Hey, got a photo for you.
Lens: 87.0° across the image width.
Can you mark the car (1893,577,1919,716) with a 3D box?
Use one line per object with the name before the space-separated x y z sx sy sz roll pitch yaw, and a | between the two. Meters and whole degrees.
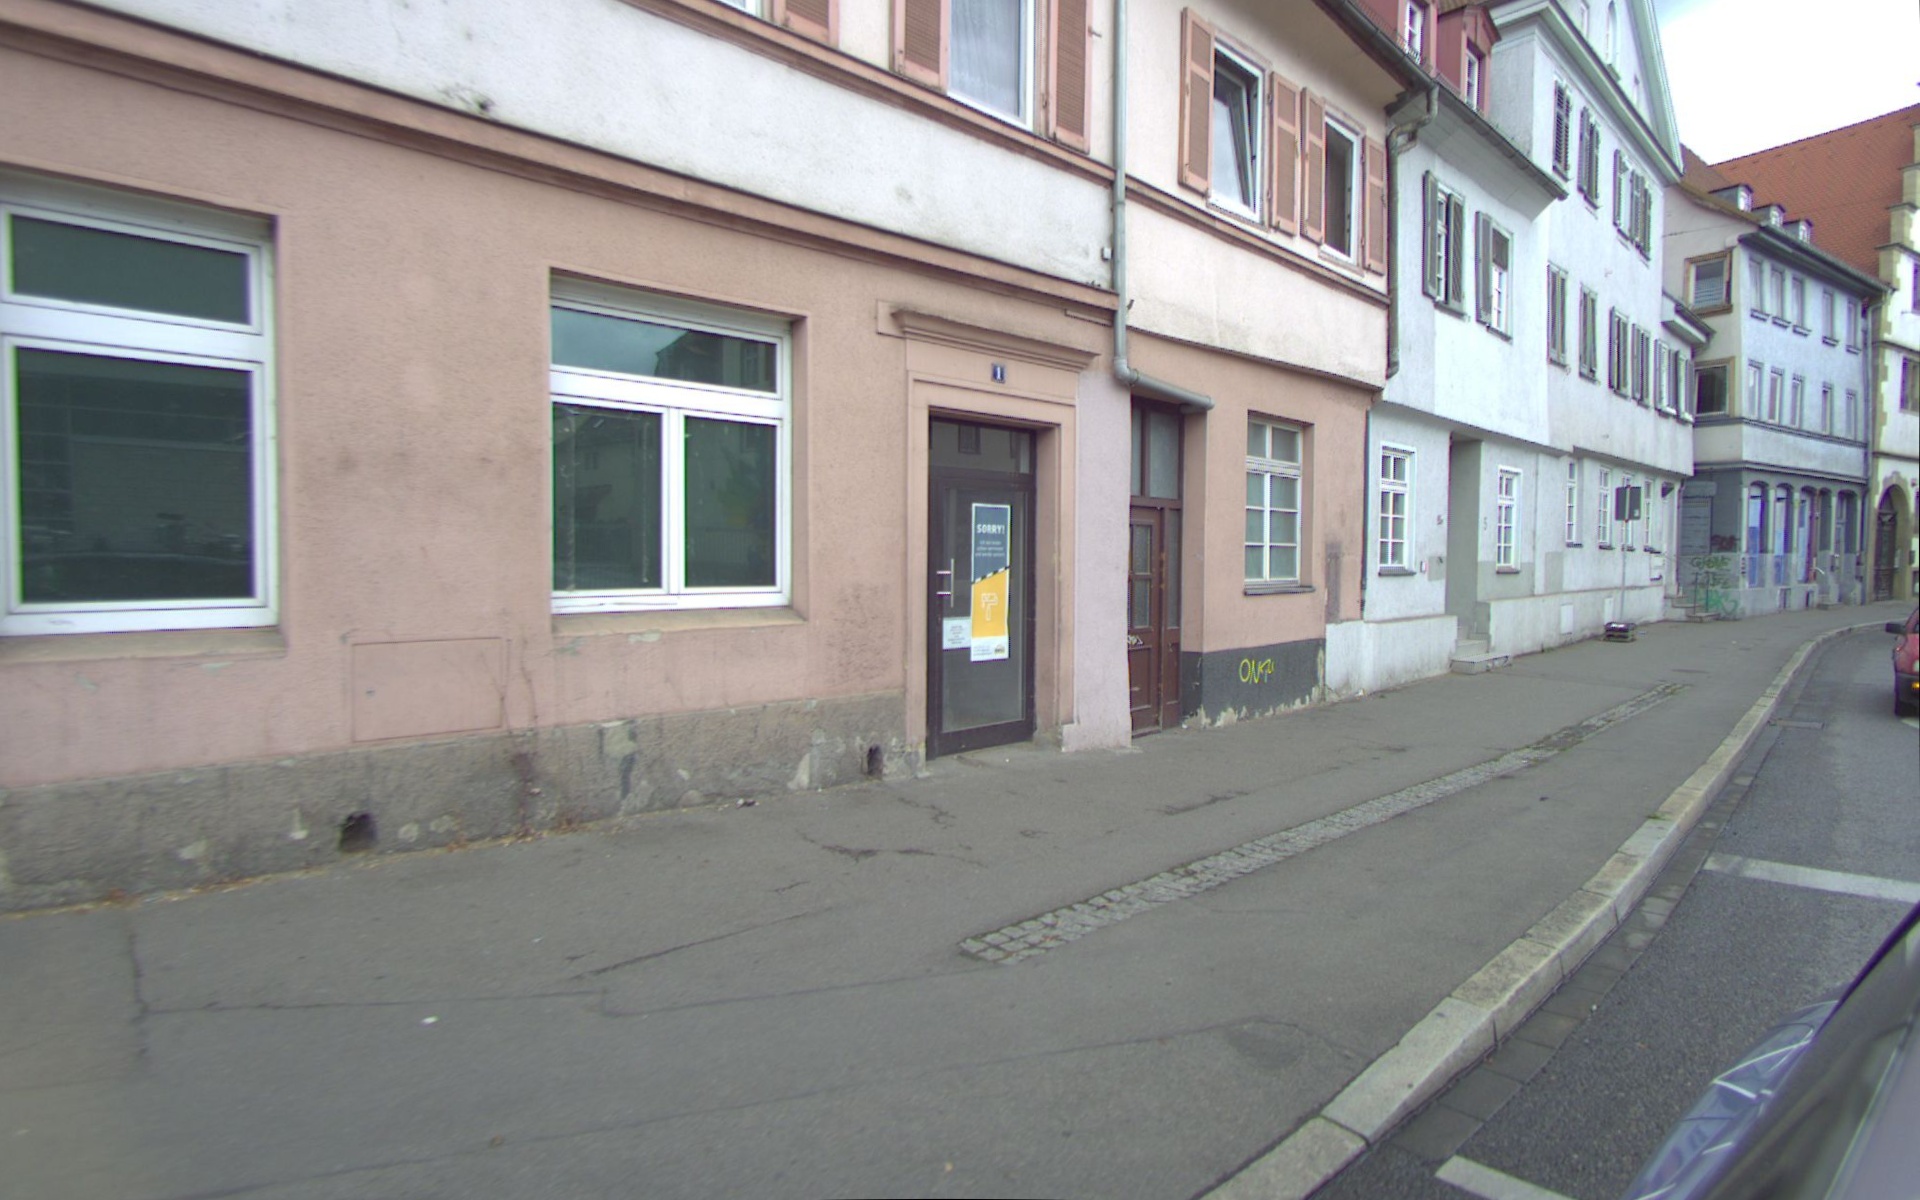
car | 12.354 0.464 11.944 1.800 1.485 3.936 -1 0 45
